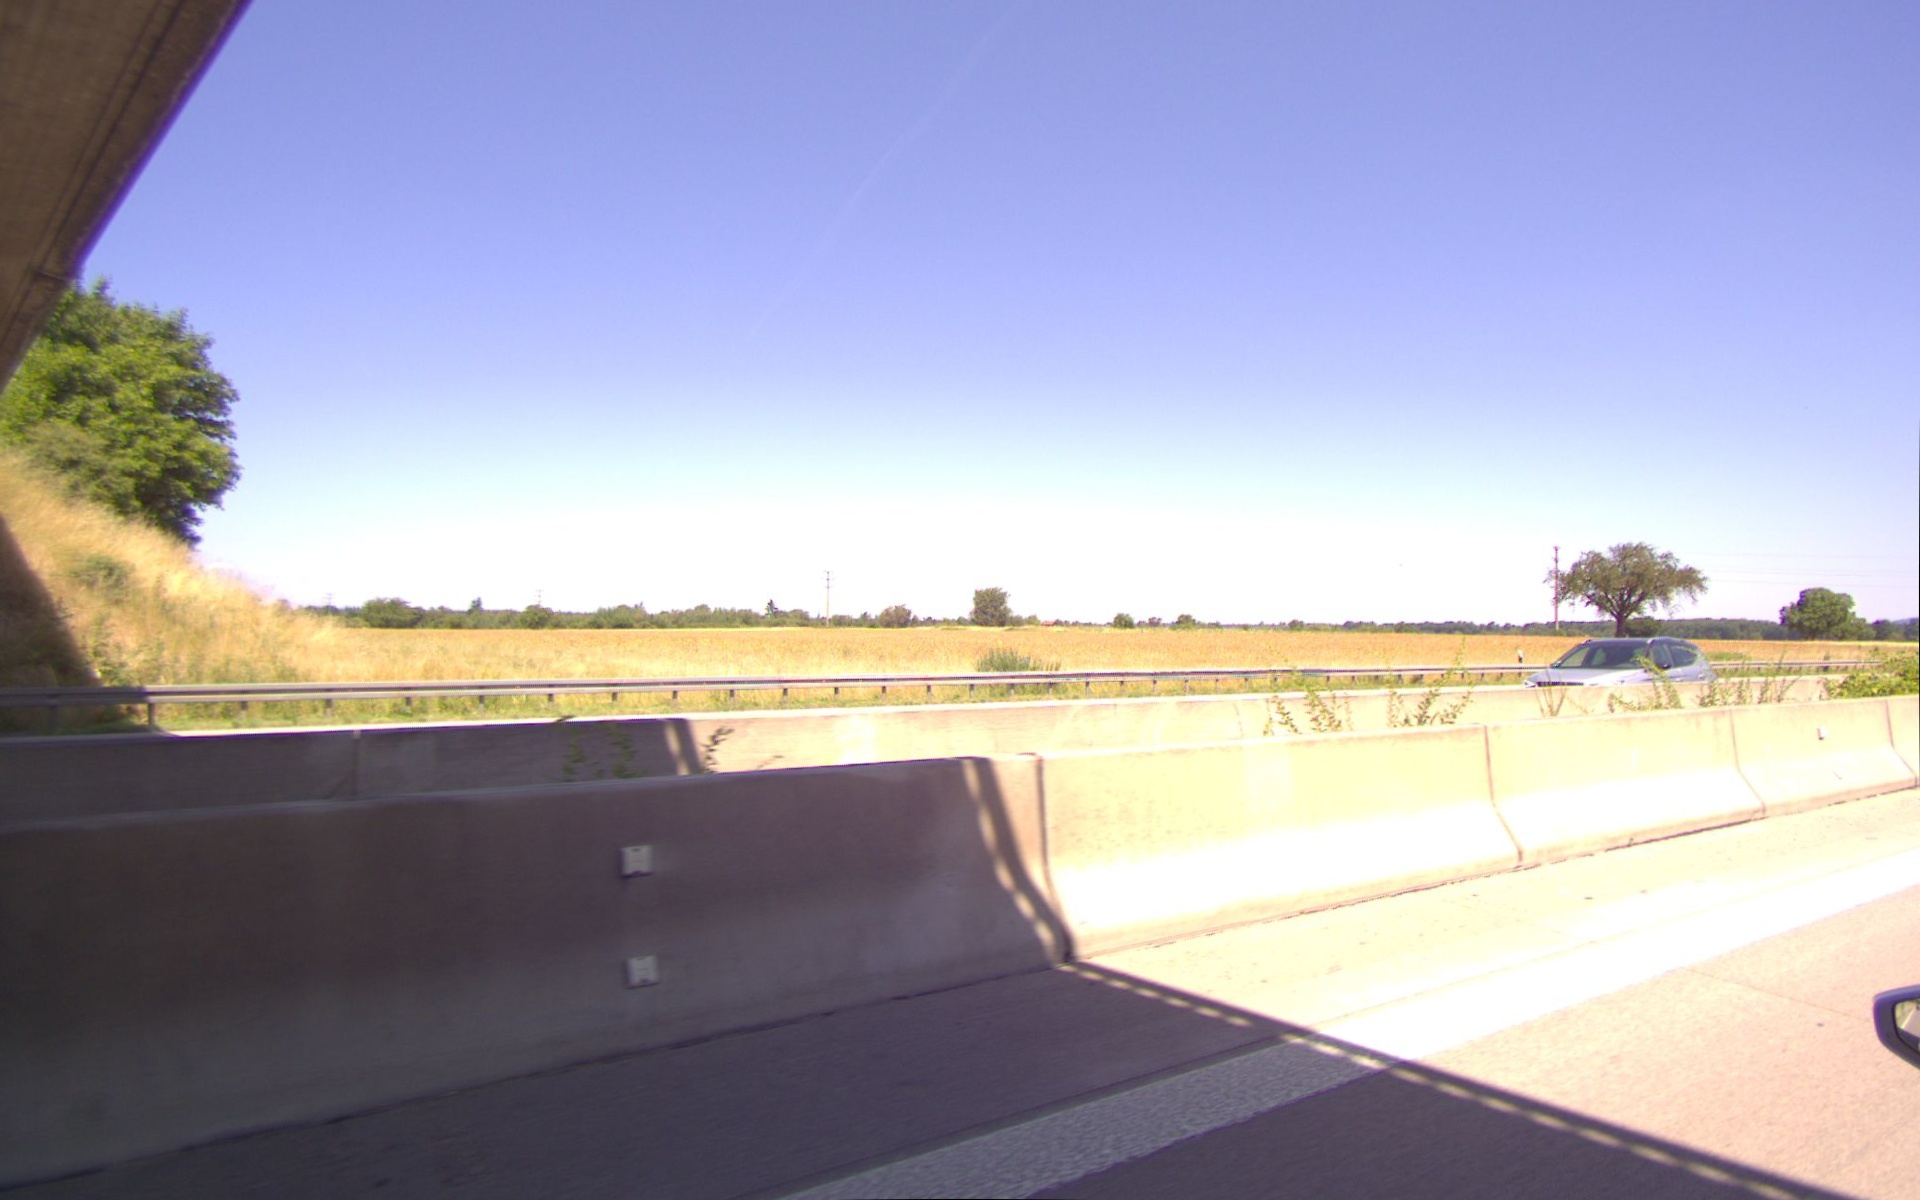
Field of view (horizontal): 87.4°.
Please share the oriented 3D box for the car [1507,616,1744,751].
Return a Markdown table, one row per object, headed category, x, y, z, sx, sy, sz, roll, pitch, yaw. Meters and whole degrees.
| category | x | y | z | sx | sy | sz | roll | pitch | yaw |
| --- | --- | --- | --- | --- | --- | --- | --- | --- | --- |
| car | 11.460 | 1.344 | 17.266 | 3.953 | 2.040 | 1.829 | 2 | 0 | -30 |
